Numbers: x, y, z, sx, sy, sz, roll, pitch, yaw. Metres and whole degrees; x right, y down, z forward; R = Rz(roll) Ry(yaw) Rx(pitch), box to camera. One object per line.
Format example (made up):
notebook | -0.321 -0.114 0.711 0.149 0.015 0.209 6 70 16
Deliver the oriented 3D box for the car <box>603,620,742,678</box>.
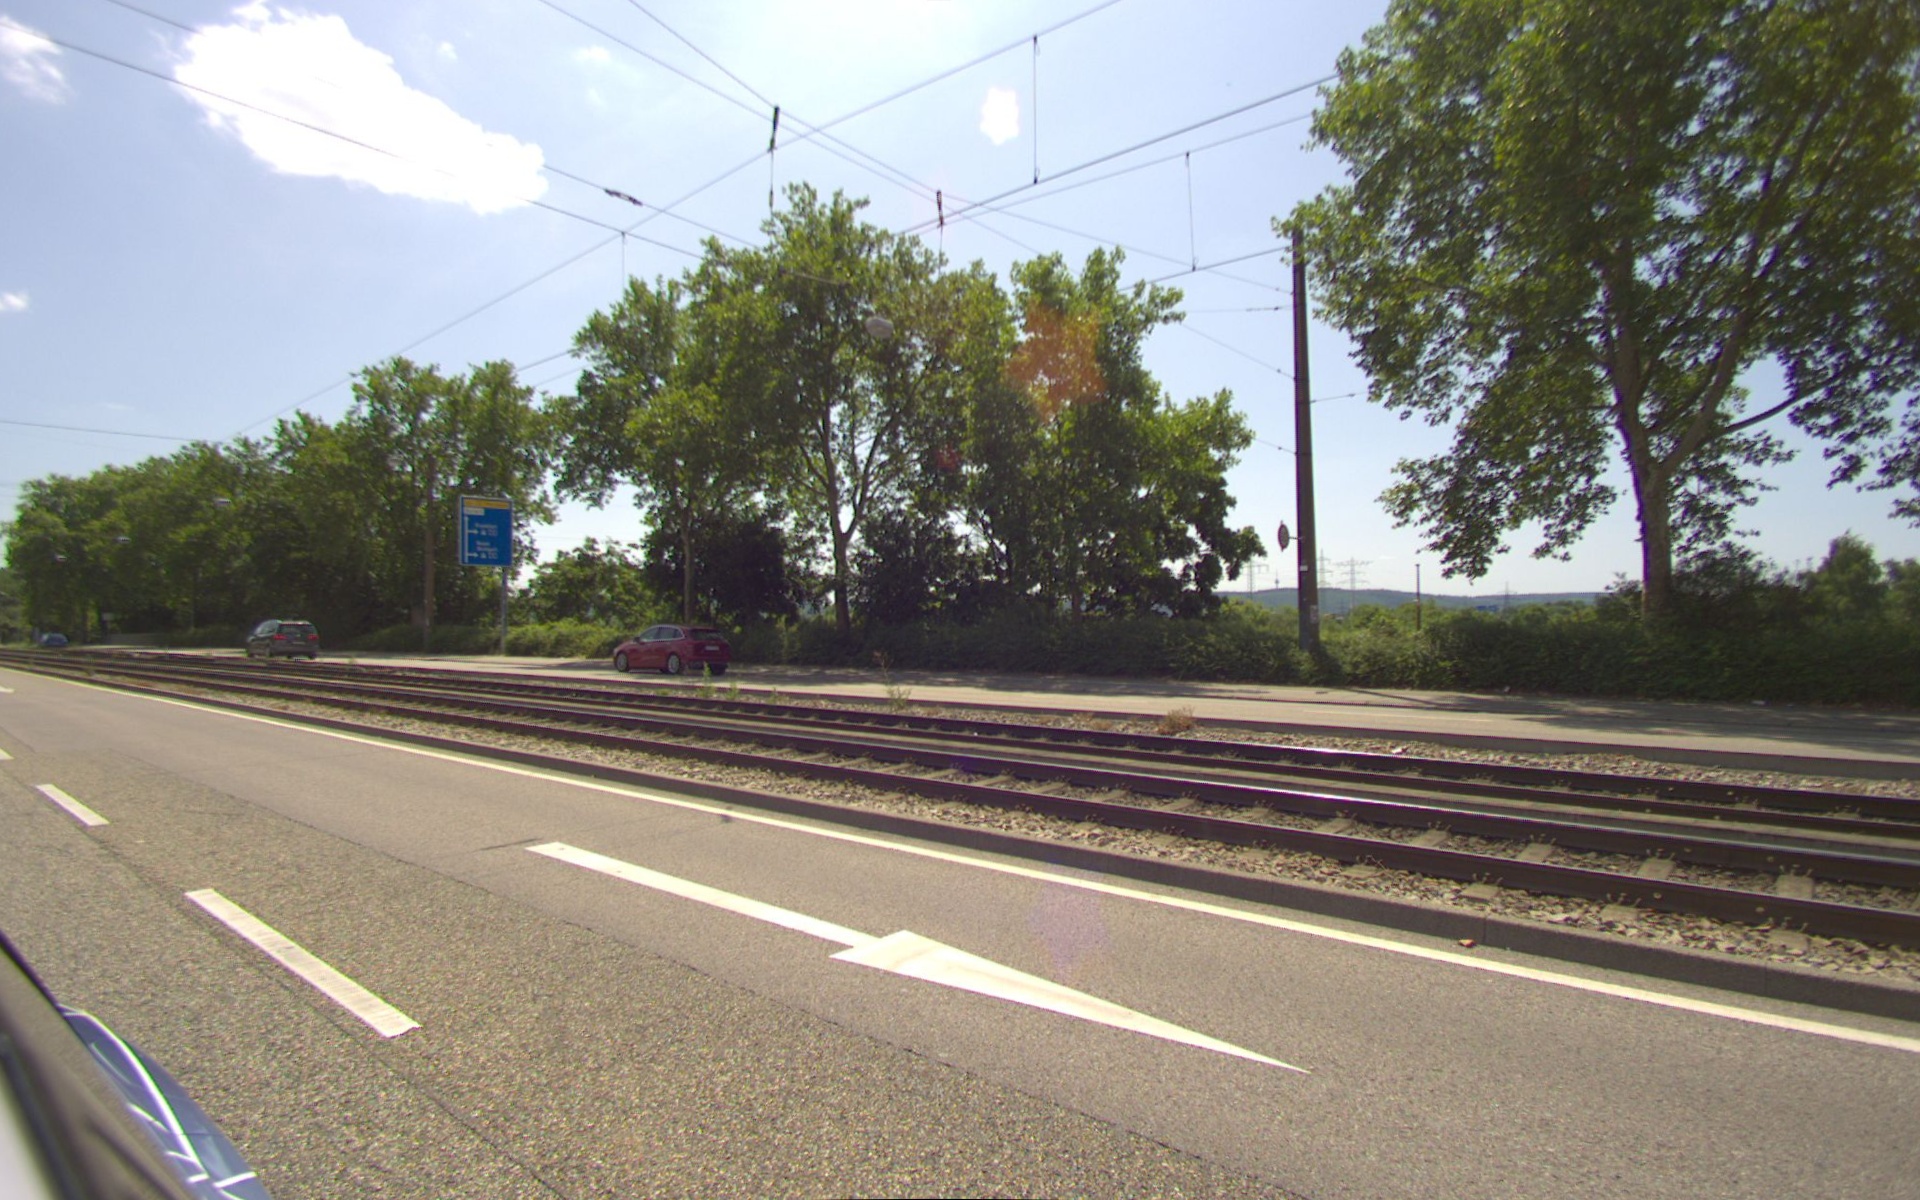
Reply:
car | -8.979 1.529 31.492 4.464 1.683 1.973 -2 -4 40

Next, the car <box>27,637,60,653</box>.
car | -93.060 4.579 102.697 4.731 1.515 1.780 -2 -4 40

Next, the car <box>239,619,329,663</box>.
car | -30.270 1.854 45.251 4.965 1.845 1.973 -2 -4 40
